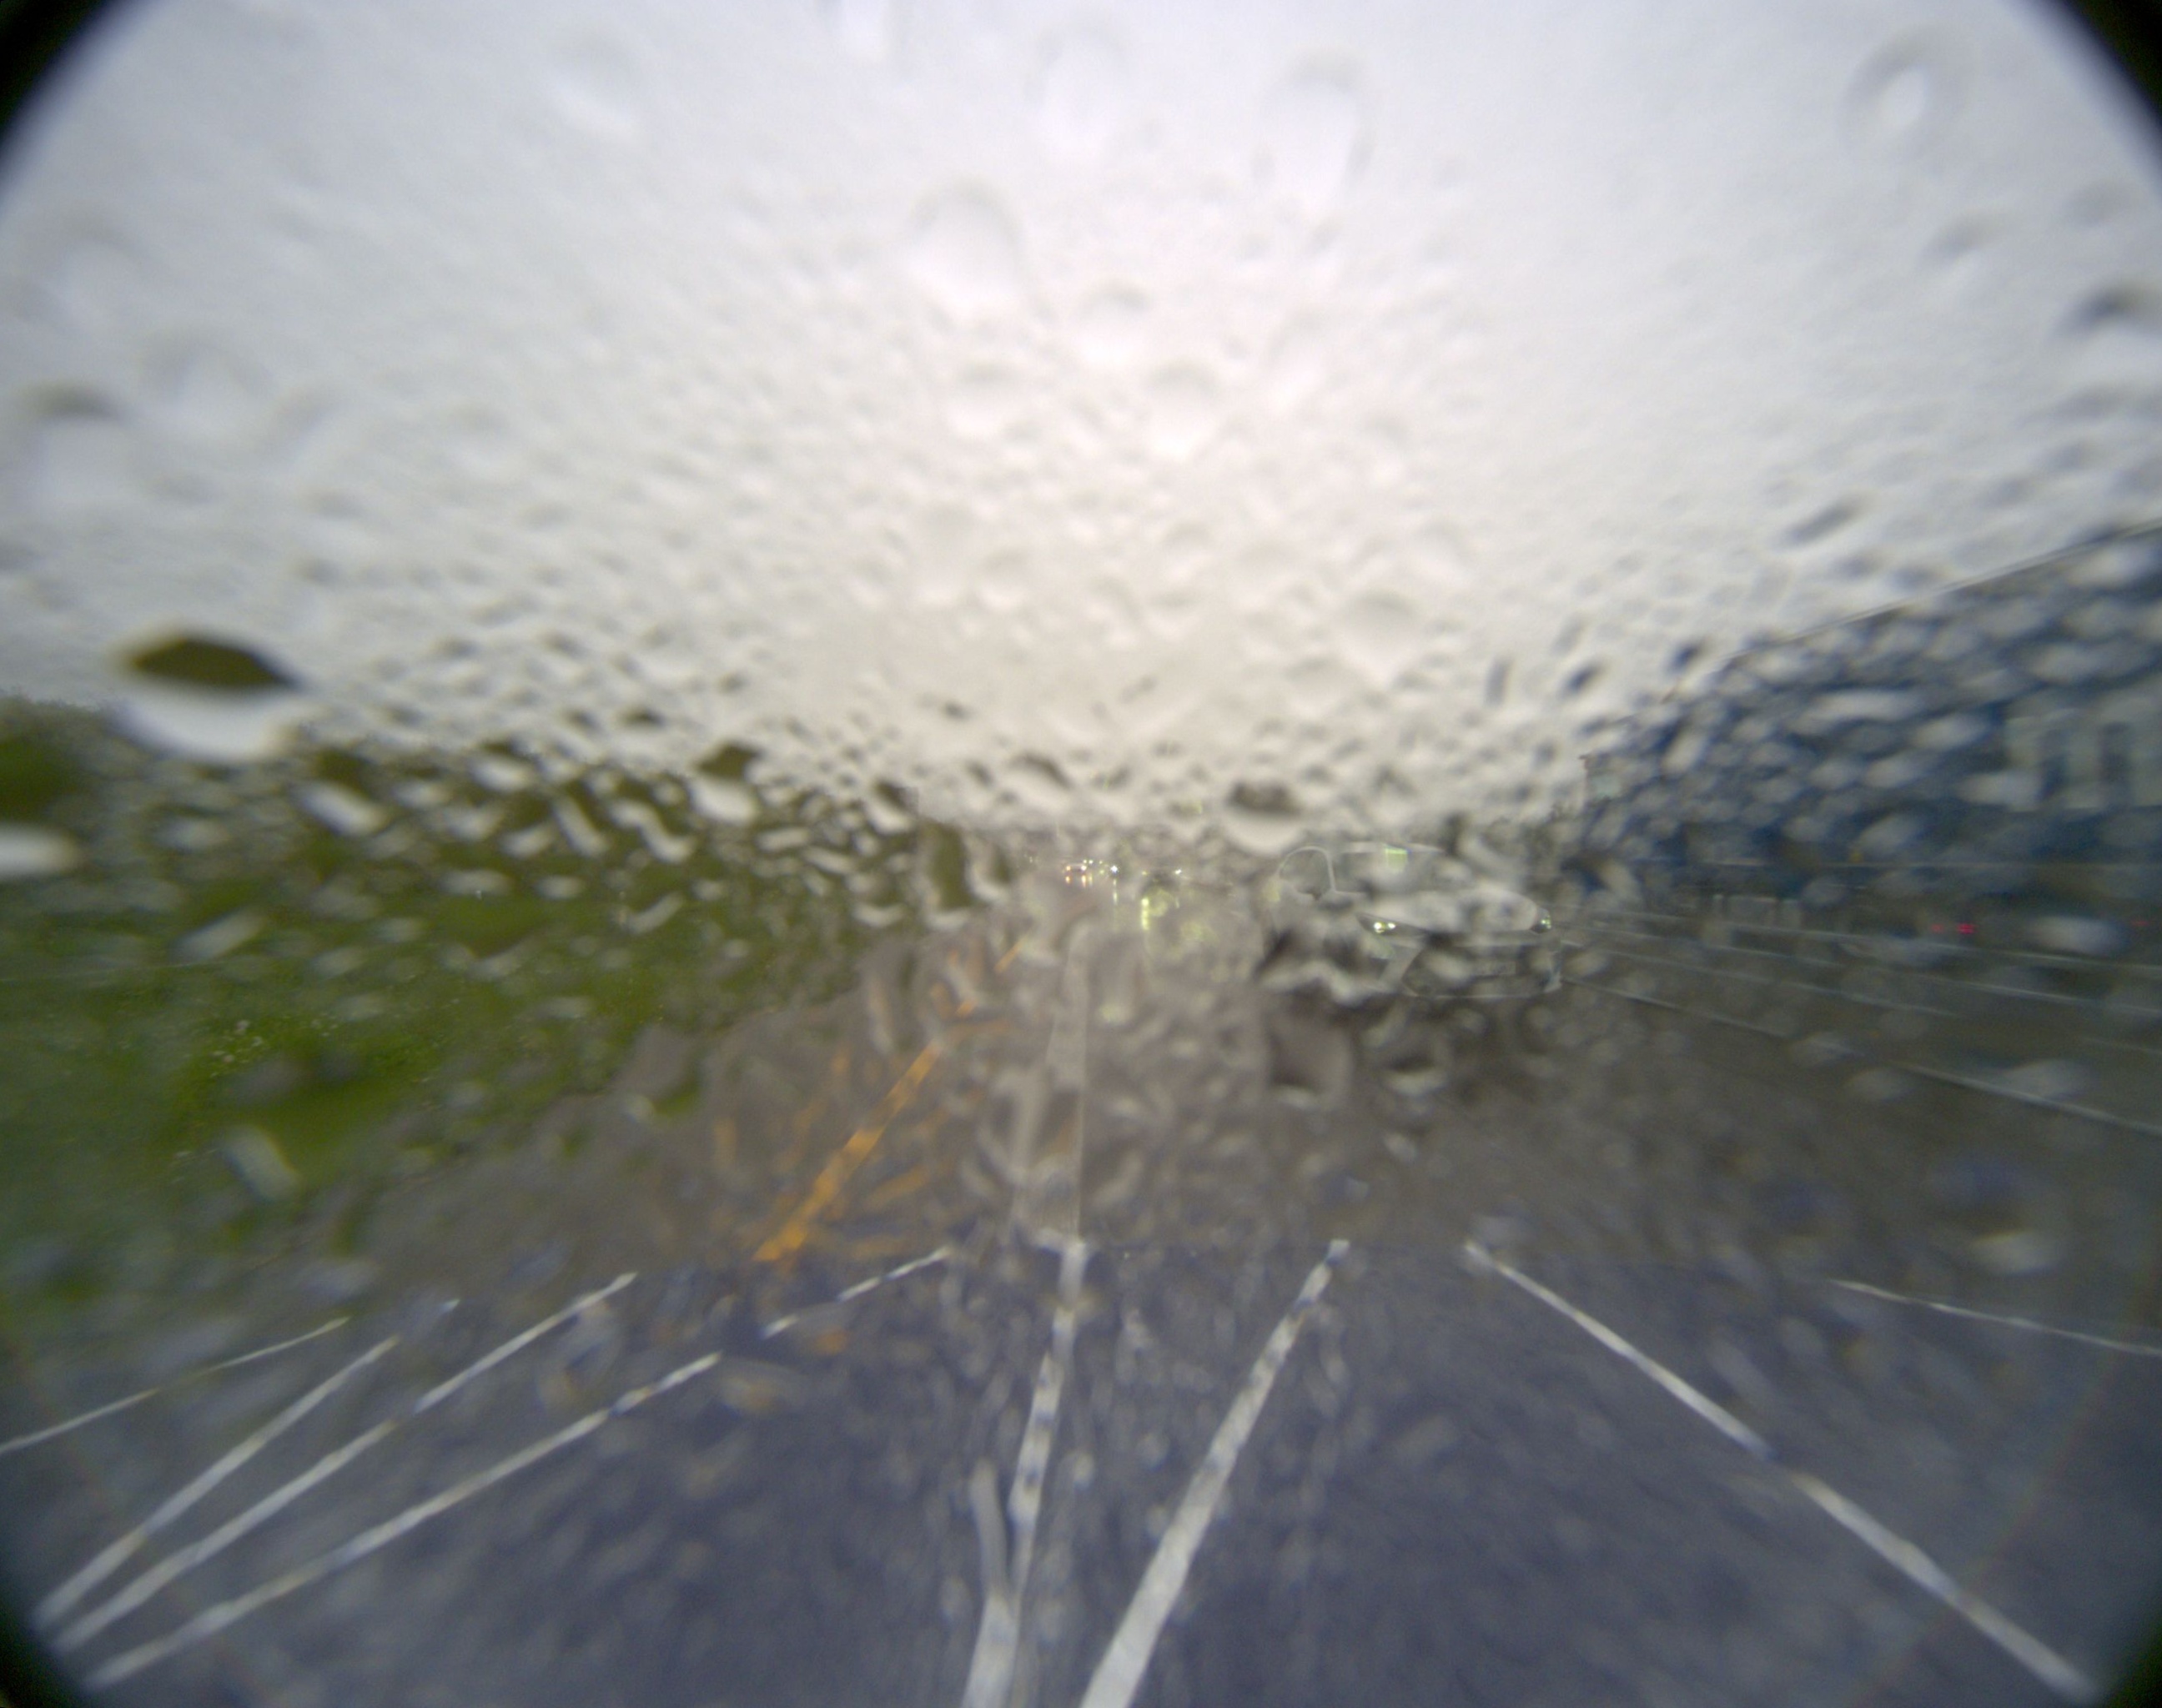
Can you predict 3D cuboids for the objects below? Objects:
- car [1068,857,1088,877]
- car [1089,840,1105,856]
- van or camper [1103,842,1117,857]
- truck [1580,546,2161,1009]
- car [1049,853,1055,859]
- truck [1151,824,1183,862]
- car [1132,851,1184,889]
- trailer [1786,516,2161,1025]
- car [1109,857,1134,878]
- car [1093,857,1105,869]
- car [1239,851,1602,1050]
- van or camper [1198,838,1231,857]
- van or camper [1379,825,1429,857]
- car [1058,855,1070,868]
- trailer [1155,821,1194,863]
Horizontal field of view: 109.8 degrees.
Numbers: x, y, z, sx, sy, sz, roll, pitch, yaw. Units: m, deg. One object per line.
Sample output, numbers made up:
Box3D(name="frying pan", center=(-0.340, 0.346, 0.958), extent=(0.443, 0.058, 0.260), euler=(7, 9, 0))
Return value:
Box3D(name="car", center=(-0.250, 1.229, 72.732), extent=(1.881, 1.772, 4.000), euler=(0, 0, 1))
Box3D(name="car", center=(3.911, -1.398, 184.951), extent=(3.305, 3.718, 9.399), euler=(-3, 0, -1))
Box3D(name="van or camper", center=(6.027, -0.861, 157.517), extent=(2.491, 2.901, 6.221), euler=(-3, 0, -1))
Box3D(name="truck", center=(10.037, -0.682, 10.019), extent=(2.630, 4.058, 6.670), euler=(-2, 0, 2))
Box3D(name="car", center=(-8.748, 0.622, 231.852), extent=(1.673, 1.804, 3.999), euler=(0, 0, 0))
Box3D(name="truck", center=(9.735, -1.230, 86.640), extent=(2.649, 4.024, 7.284), euler=(-3, 1, 1))
Box3D(name="car", center=(3.516, 0.697, 35.602), extent=(2.069, 1.618, 5.196), euler=(-1, 0, 2))
Box3D(name="trailer", center=(9.830, -0.667, 3.110), extent=(2.606, 4.054, 12.432), euler=(-2, 0, 2))
Box3D(name="car", center=(3.119, 1.008, 59.392), extent=(1.792, 1.480, 4.000), euler=(-3, 0, 2))
Box3D(name="car", center=(2.430, 1.254, 103.221), extent=(1.589, 1.528, 3.831), euler=(0, 0, 1))
Box3D(name="car", center=(3.198, 0.760, 8.509), extent=(1.932, 1.542, 5.007), euler=(-1, 0, 2))
Box3D(name="van or camper", center=(25.689, -1.290, 146.115), extent=(5.421, 3.325, 3.377), euler=(-3, 1, -3))
Box3D(name="van or camper", center=(46.568, -1.792, 109.720), extent=(3.375, 4.299, 8.505), euler=(-3, 0, -1))
Box3D(name="car", center=(-2.571, 1.093, 114.458), extent=(1.674, 1.804, 3.998), euler=(0, 0, -4))
Box3D(name="trailer", center=(9.648, -1.182, 79.689), extent=(2.619, 3.984, 11.927), euler=(-3, 0, 1))
